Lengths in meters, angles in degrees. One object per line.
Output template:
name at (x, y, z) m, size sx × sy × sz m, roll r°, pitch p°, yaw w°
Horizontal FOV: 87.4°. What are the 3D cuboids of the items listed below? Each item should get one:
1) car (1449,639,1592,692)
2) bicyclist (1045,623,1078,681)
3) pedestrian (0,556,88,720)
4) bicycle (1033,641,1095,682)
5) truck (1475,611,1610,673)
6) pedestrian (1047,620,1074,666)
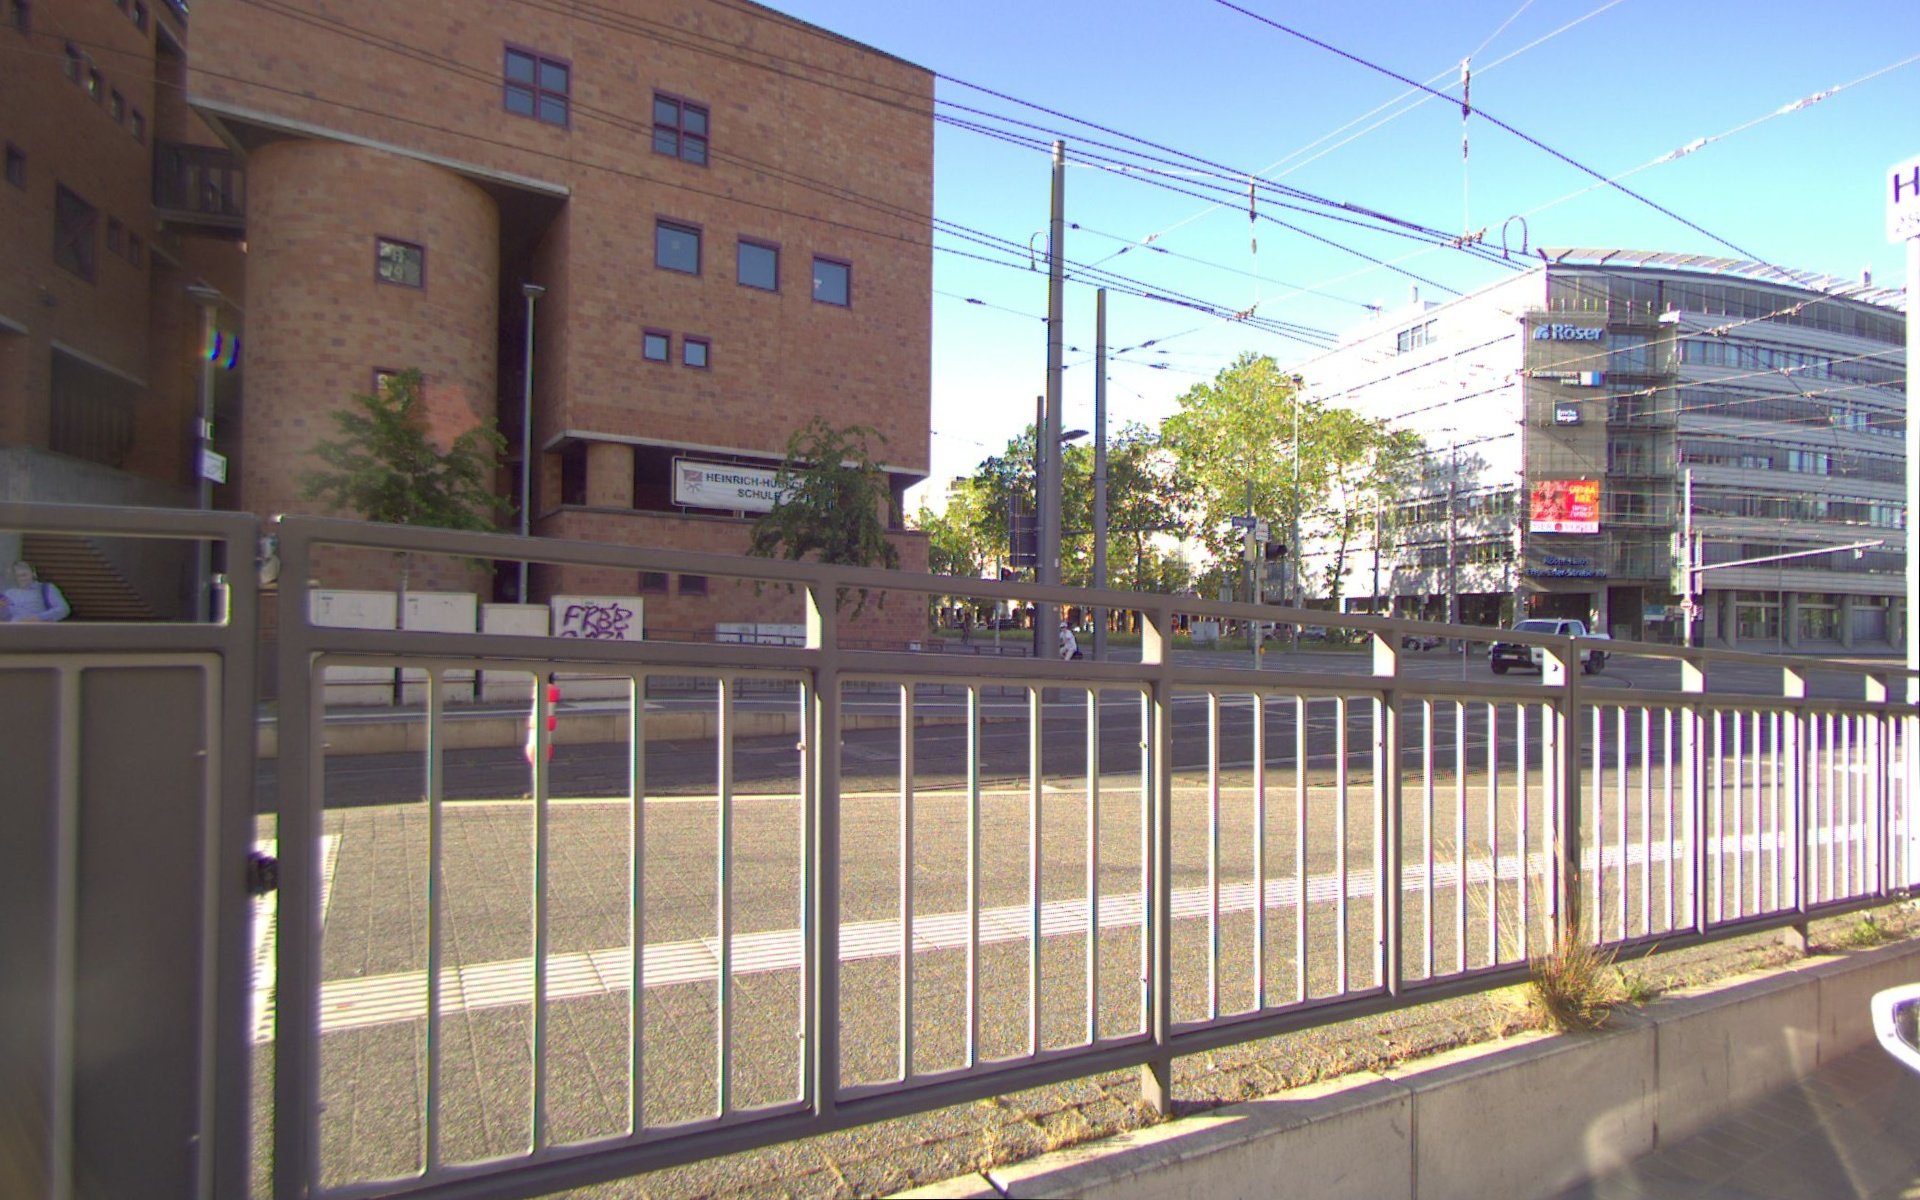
car at (13.608, 1.558, 24.439) m, size 2.841 × 1.077 × 1.238 m, roll 2°, pitch 0°, yaw 40°
bicyclist at (2.831, 1.441, 27.950) m, size 0.642 × 1.554 × 0.584 m, roll 2°, pitch 0°, yaw -30°
pedestrian at (-9.680, 0.392, 10.538) m, size 0.679 × 1.656 × 0.662 m, roll 2°, pitch 0°, yaw -34°
bicycle at (2.908, 1.722, 27.998) m, size 1.793 × 1.104 × 0.458 m, roll 2°, pitch -3°, yaw -30°
truck at (19.426, 1.469, 33.403) m, size 5.106 × 1.904 × 1.980 m, roll 3°, pitch -4°, yaw -36°
pedestrian at (3.874, 1.651, 38.617) m, size 0.785 × 1.714 × 0.587 m, roll 2°, pitch 0°, yaw -29°
